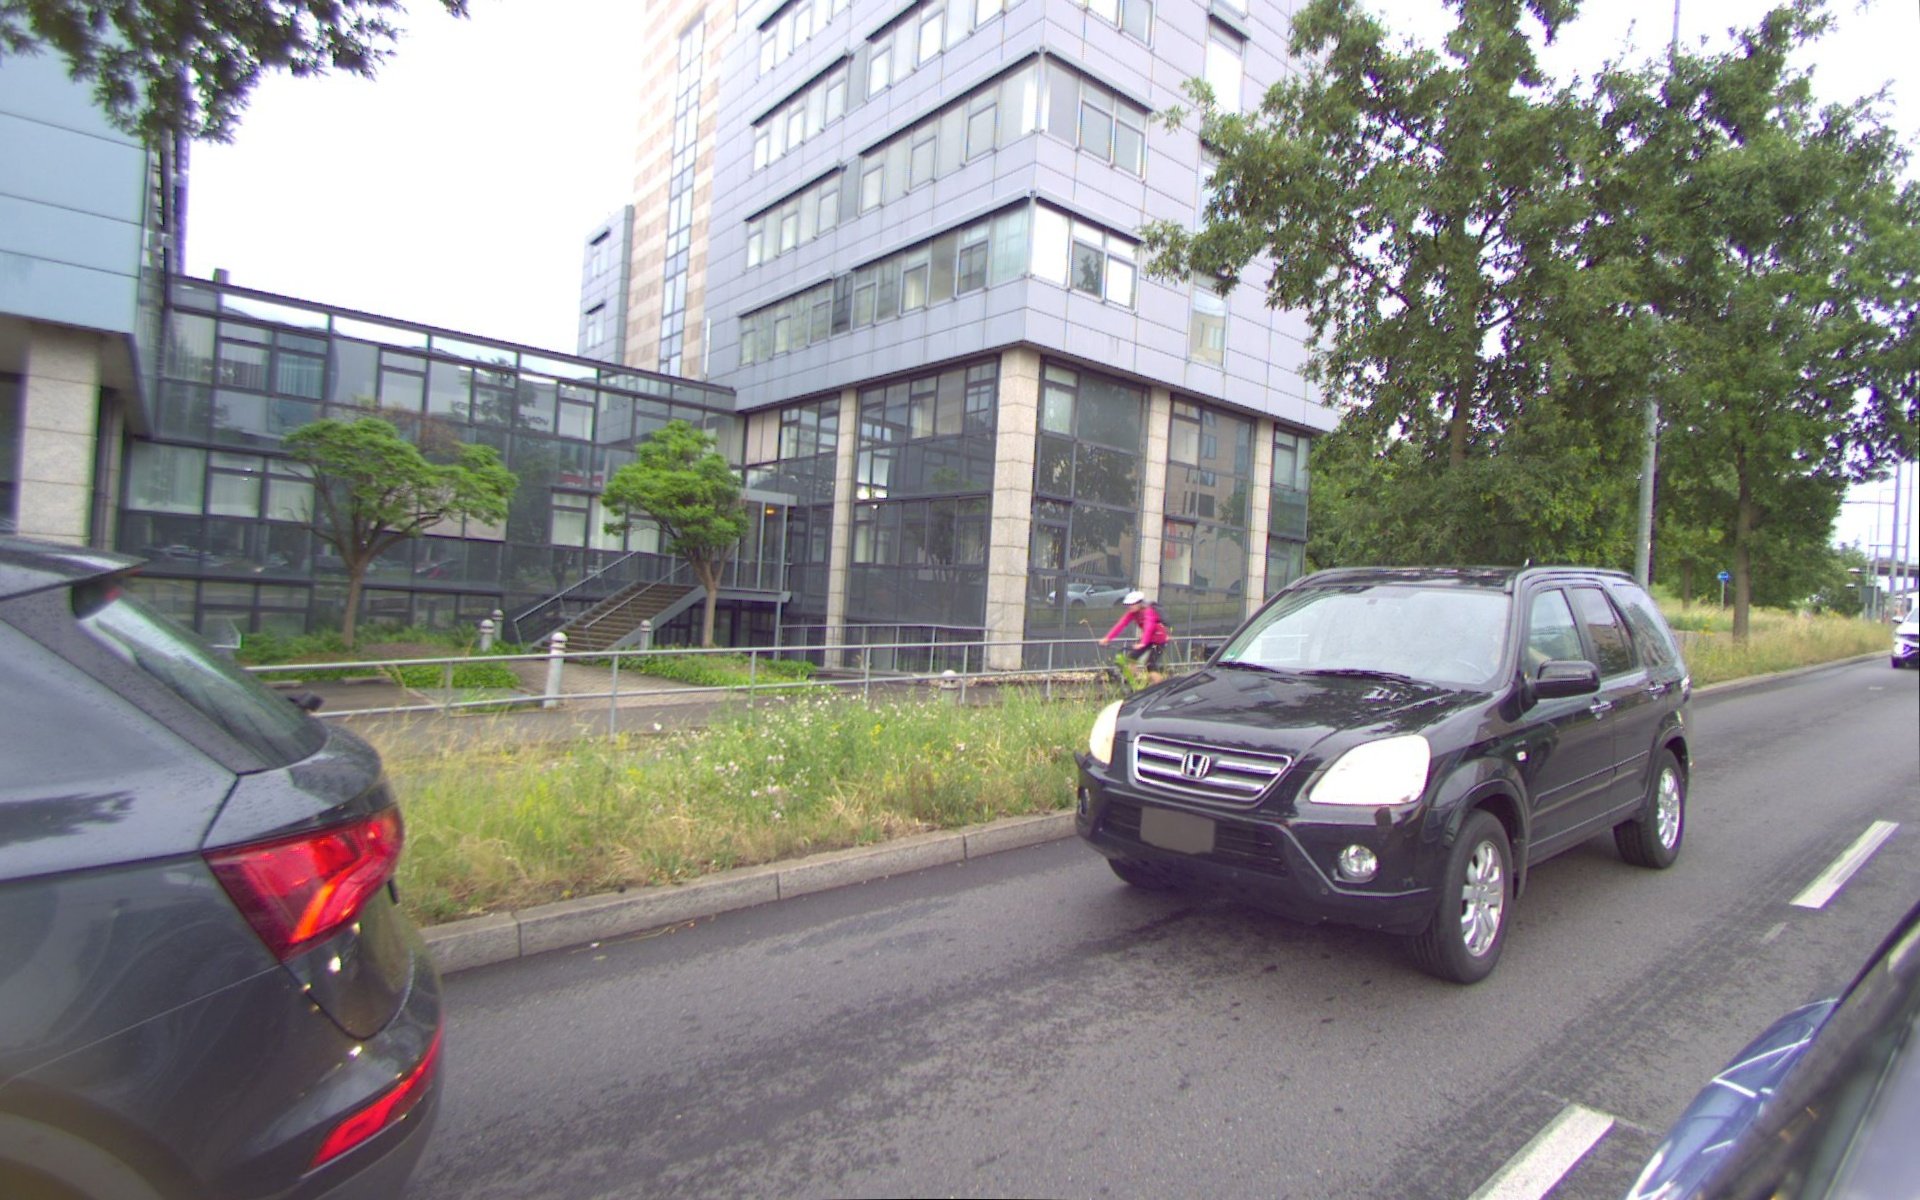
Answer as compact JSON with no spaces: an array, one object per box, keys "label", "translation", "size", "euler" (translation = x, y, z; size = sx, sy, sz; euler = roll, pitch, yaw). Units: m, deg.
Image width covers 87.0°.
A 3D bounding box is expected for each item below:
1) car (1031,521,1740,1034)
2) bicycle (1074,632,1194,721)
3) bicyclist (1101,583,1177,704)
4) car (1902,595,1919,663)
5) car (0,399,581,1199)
[{"label":"car","translation":[2.513,0.559,5.378],"size":[4.262,1.679,1.758],"euler":[0,1,-41]},{"label":"bicycle","translation":[2.417,1.017,13.919],"size":[1.872,1.102,0.581],"euler":[1,-1,-41]},{"label":"bicyclist","translation":[2.465,0.574,13.919],"size":[0.839,1.599,0.647],"euler":[1,-1,-41]},{"label":"car","translation":[23.415,0.667,23.494],"size":[3.699,1.522,1.827],"euler":[0,1,-40]},{"label":"car","translation":[-2.913,0.541,1.018],"size":[4.392,1.633,1.821],"euler":[0,1,-41]}]
